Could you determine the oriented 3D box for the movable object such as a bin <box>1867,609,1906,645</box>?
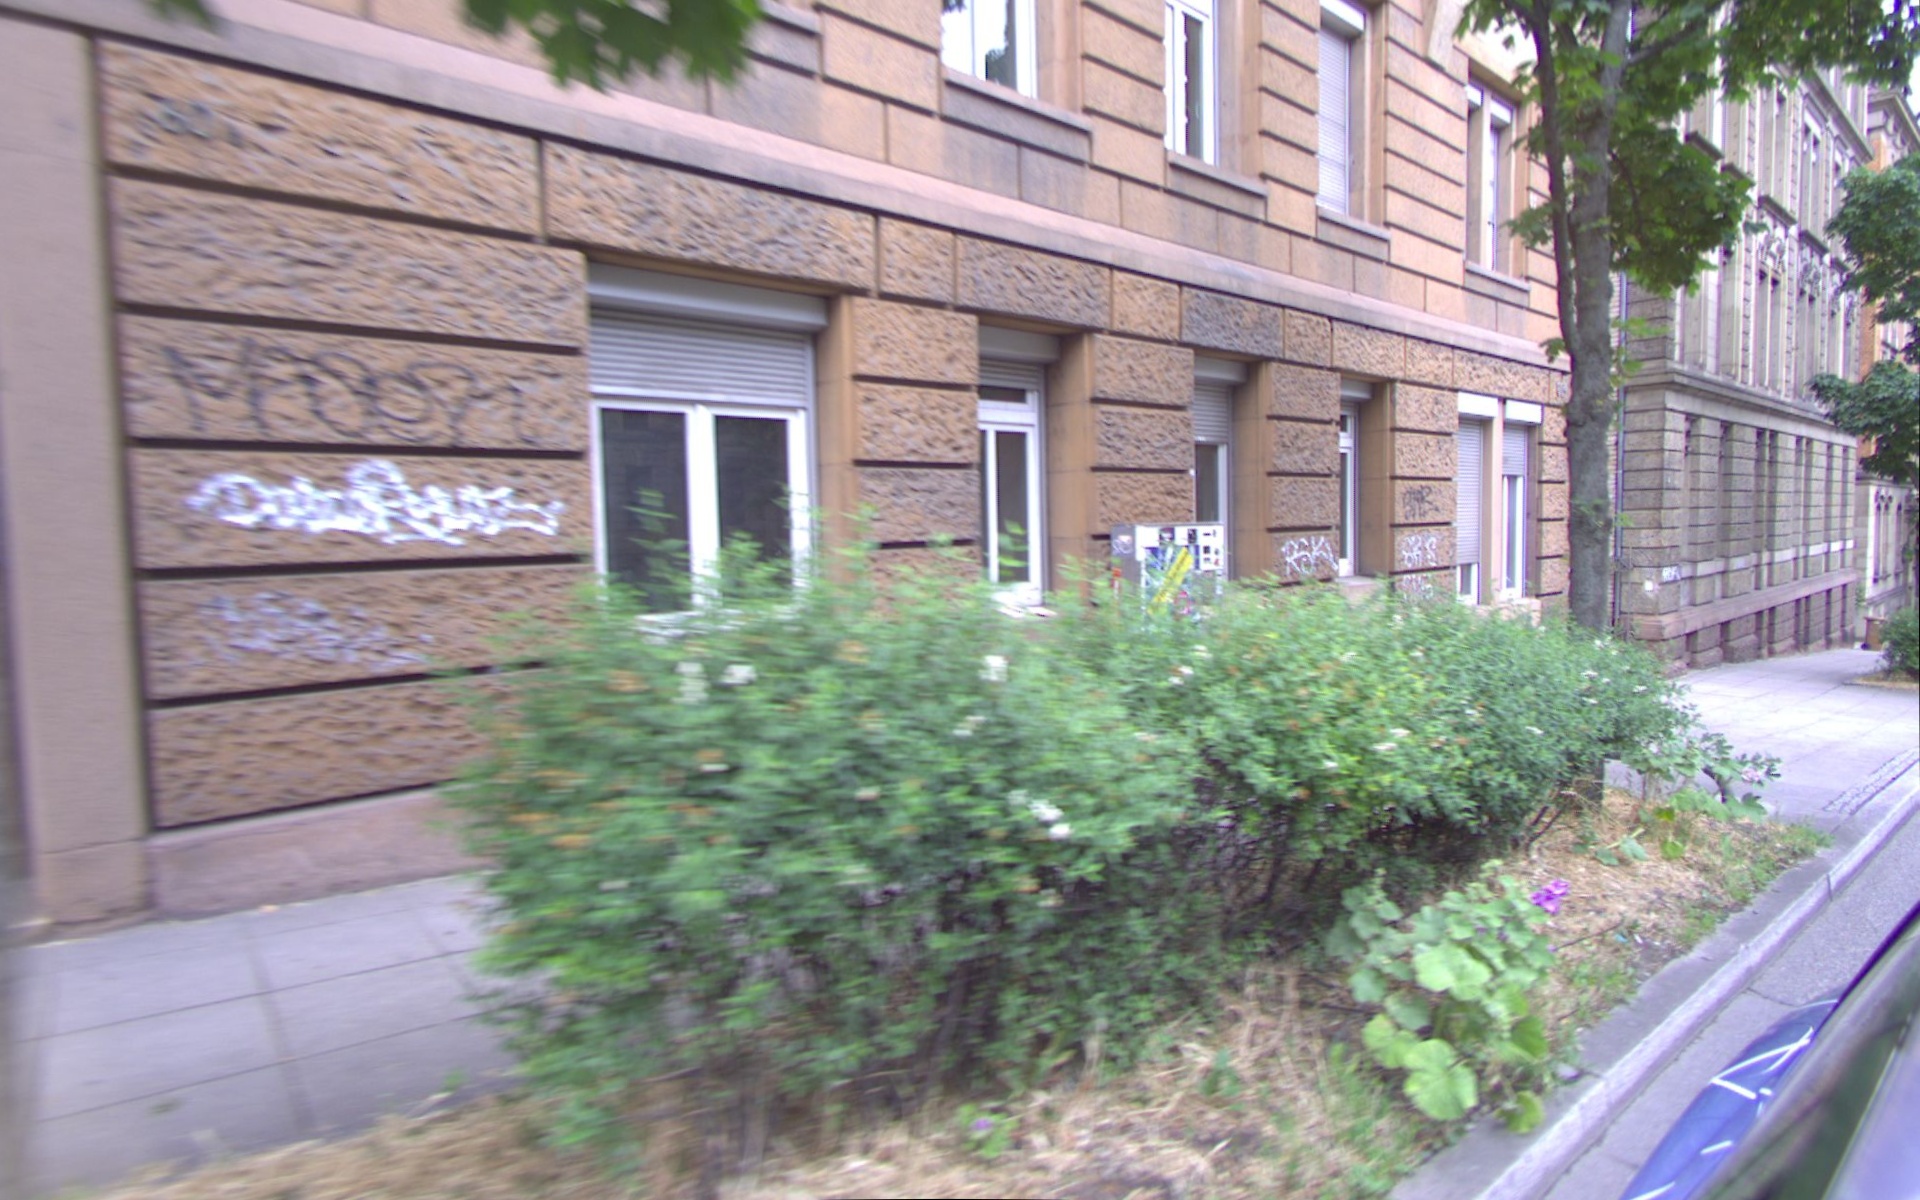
[{"bbox_3d":[24.785,0.719,27.072,0.572,0.908,0.672,3,2,-43],"label":"movable object such as a bin"}]
